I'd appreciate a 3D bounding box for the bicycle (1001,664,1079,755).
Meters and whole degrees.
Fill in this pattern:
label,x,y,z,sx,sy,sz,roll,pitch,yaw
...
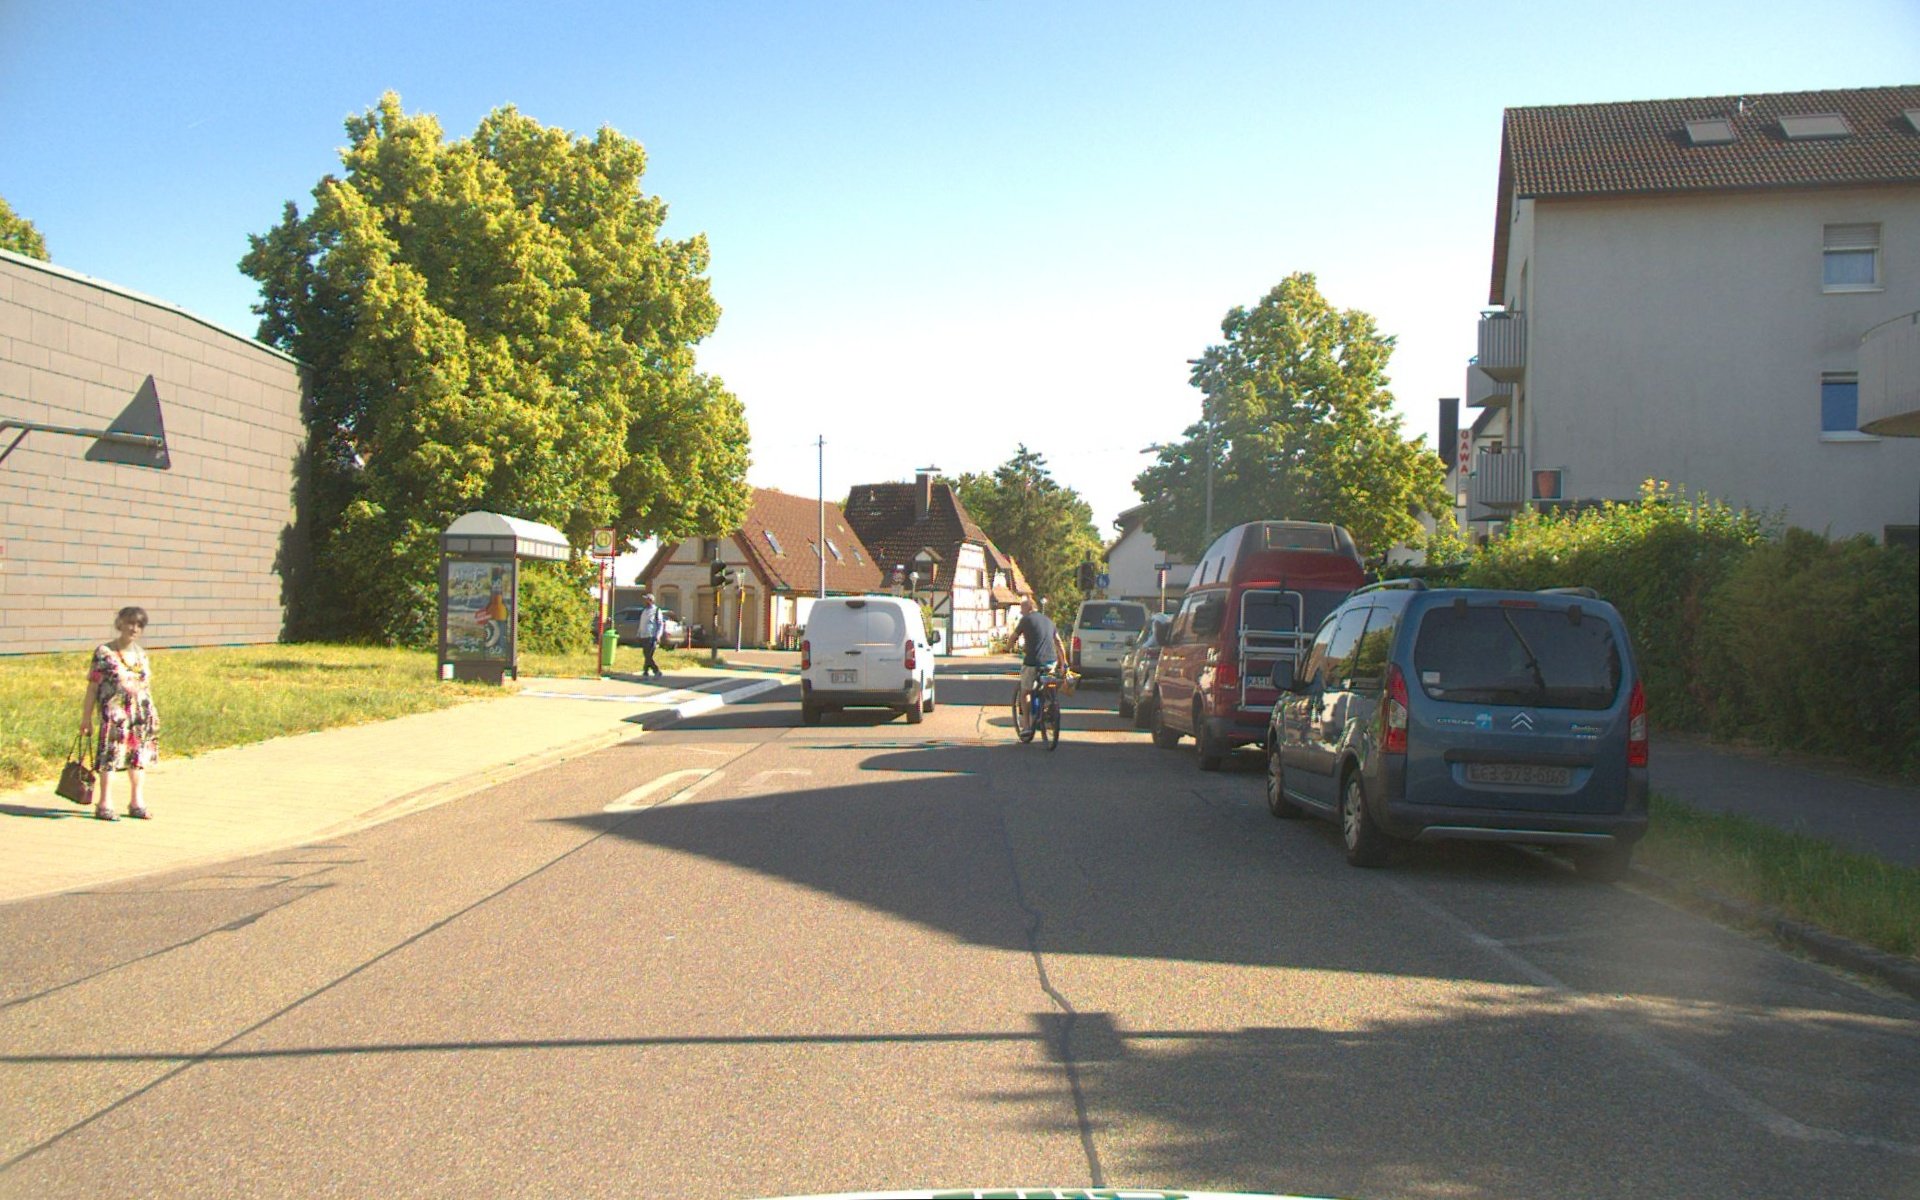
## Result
label,x,y,z,sx,sy,sz,roll,pitch,yaw
bicycle,0.941,1.295,20.042,0.759,0.956,2.290,0,0,-2

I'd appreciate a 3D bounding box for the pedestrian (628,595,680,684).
label,x,y,z,sx,sy,sz,roll,pitch,yaw
pedestrian,-6.498,0.832,35.076,0.764,1.834,0.708,3,0,-40

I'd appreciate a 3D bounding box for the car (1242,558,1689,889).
label,x,y,z,sx,sy,sz,roll,pitch,yaw
car,3.408,0.750,12.149,1.819,1.880,4.560,3,0,0

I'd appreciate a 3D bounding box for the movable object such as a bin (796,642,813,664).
label,x,y,z,sx,sy,sz,roll,pitch,yaw
movable object such as a bin,-6.652,2.266,70.850,0.497,0.941,0.625,1,-1,20

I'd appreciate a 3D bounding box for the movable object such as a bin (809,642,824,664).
label,x,y,z,sx,sy,sz,roll,pitch,yaw
movable object such as a bin,-6.147,2.249,70.680,0.404,0.922,0.625,1,-1,20

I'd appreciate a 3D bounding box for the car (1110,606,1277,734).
label,x,y,z,sx,sy,sz,roll,pitch,yaw
car,3.564,1.024,26.008,1.917,1.768,4.576,2,-1,0

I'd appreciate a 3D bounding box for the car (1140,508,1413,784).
label,x,y,z,sx,sy,sz,roll,pitch,yaw
car,3.435,0.476,19.059,1.918,2.691,5.221,2,-1,-2

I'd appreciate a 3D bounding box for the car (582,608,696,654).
label,x,y,z,sx,sy,sz,roll,pitch,yaw
car,-13.133,1.267,67.751,4.132,1.755,1.946,1,-1,19

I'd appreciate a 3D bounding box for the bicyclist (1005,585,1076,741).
label,x,y,z,sx,sy,sz,roll,pitch,yaw
bicyclist,0.963,0.748,19.956,0.749,1.820,0.852,1,-1,-2

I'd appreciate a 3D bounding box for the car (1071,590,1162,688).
label,x,y,z,sx,sy,sz,roll,pitch,yaw
car,3.599,0.901,38.567,1.951,2.115,4.580,1,-1,4

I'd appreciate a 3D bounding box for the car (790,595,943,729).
label,x,y,z,sx,sy,sz,roll,pitch,yaw
car,-1.348,0.867,25.663,1.916,1.880,4.561,0,0,2

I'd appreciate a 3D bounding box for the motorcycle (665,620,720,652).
label,x,y,z,sx,sy,sz,roll,pitch,yaw
motorcycle,-11.526,1.553,71.240,2.196,1.318,0.883,0,2,21

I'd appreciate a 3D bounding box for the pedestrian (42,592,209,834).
label,x,y,z,sx,sy,sz,roll,pitch,yaw
pedestrian,-5.982,0.795,11.861,0.819,1.614,0.630,4,-1,34
